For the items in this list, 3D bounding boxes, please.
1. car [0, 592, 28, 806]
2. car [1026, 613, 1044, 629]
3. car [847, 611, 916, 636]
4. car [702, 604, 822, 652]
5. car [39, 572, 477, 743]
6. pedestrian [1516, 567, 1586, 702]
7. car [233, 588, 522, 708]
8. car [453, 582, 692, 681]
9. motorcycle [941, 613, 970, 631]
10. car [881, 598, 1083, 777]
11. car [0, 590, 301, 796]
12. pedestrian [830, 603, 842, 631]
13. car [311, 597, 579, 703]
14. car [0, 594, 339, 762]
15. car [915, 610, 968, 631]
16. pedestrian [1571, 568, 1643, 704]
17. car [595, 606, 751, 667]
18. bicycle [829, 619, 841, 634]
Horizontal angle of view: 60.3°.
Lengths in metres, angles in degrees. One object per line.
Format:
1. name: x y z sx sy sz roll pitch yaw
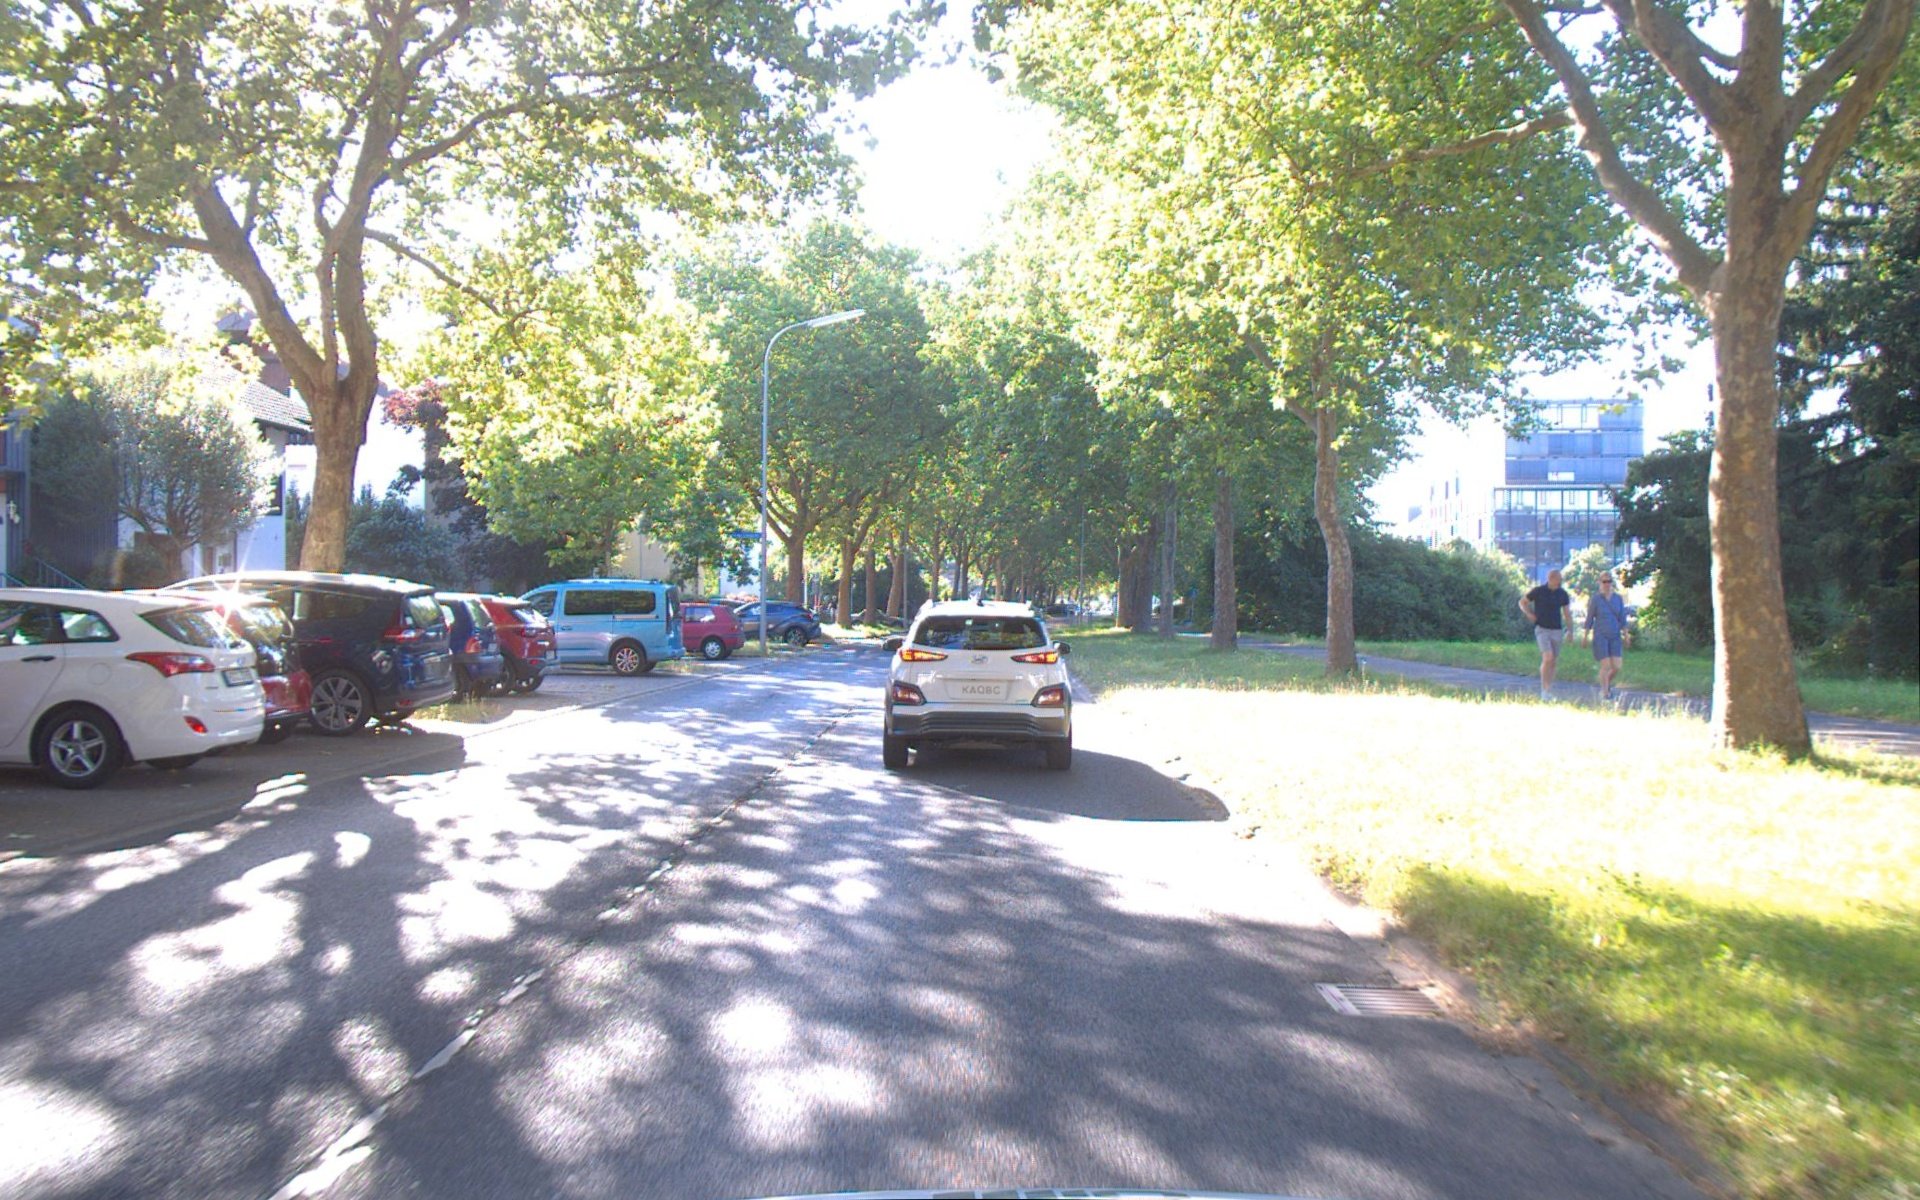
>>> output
1. car: -8.346 0.655 11.004 3.272 1.506 1.695 1 -1 -2
2. car: 7.076 1.993 156.538 1.654 1.490 3.695 1 -1 2
3. car: -4.515 1.347 95.563 3.746 1.339 1.790 2 -1 3
4. car: -6.797 0.951 57.081 3.907 1.545 1.817 1 0 -2
5. car: -7.613 0.610 18.227 4.008 1.746 1.831 1 -1 -1
6. pedestrian: 8.355 0.484 23.411 0.745 1.878 0.788 0 0 3
7. car: -8.125 0.655 23.321 3.442 1.543 1.725 2 0 -4
8. car: -7.699 0.623 33.200 4.297 1.856 1.995 1 0 -2
9. motorcycle: -0.364 1.806 135.259 2.336 1.412 0.648 1 0 0
10. car: 0.129 0.816 16.901 1.798 1.583 3.998 1 -1 -2
11. car: -7.752 0.685 13.356 4.078 1.527 1.875 1 -1 -2
12. pedestrian: -7.639 1.042 101.670 0.604 1.746 1.065 0 -1 3
13. car: -7.929 0.755 25.697 3.567 1.543 1.782 1 0 0
14. car: -8.206 0.711 16.026 3.682 1.509 1.754 1 0 0
15. car: -1.481 1.680 132.862 4.096 1.612 2.000 1 -1 1
16. pedestrian: 9.104 0.500 23.294 0.739 1.880 0.802 0 0 3
17. car: -7.438 0.939 43.105 3.793 1.545 1.664 0 0 -2
18. bicycle: -7.664 1.596 101.595 0.460 0.896 2.156 0 -1 3
